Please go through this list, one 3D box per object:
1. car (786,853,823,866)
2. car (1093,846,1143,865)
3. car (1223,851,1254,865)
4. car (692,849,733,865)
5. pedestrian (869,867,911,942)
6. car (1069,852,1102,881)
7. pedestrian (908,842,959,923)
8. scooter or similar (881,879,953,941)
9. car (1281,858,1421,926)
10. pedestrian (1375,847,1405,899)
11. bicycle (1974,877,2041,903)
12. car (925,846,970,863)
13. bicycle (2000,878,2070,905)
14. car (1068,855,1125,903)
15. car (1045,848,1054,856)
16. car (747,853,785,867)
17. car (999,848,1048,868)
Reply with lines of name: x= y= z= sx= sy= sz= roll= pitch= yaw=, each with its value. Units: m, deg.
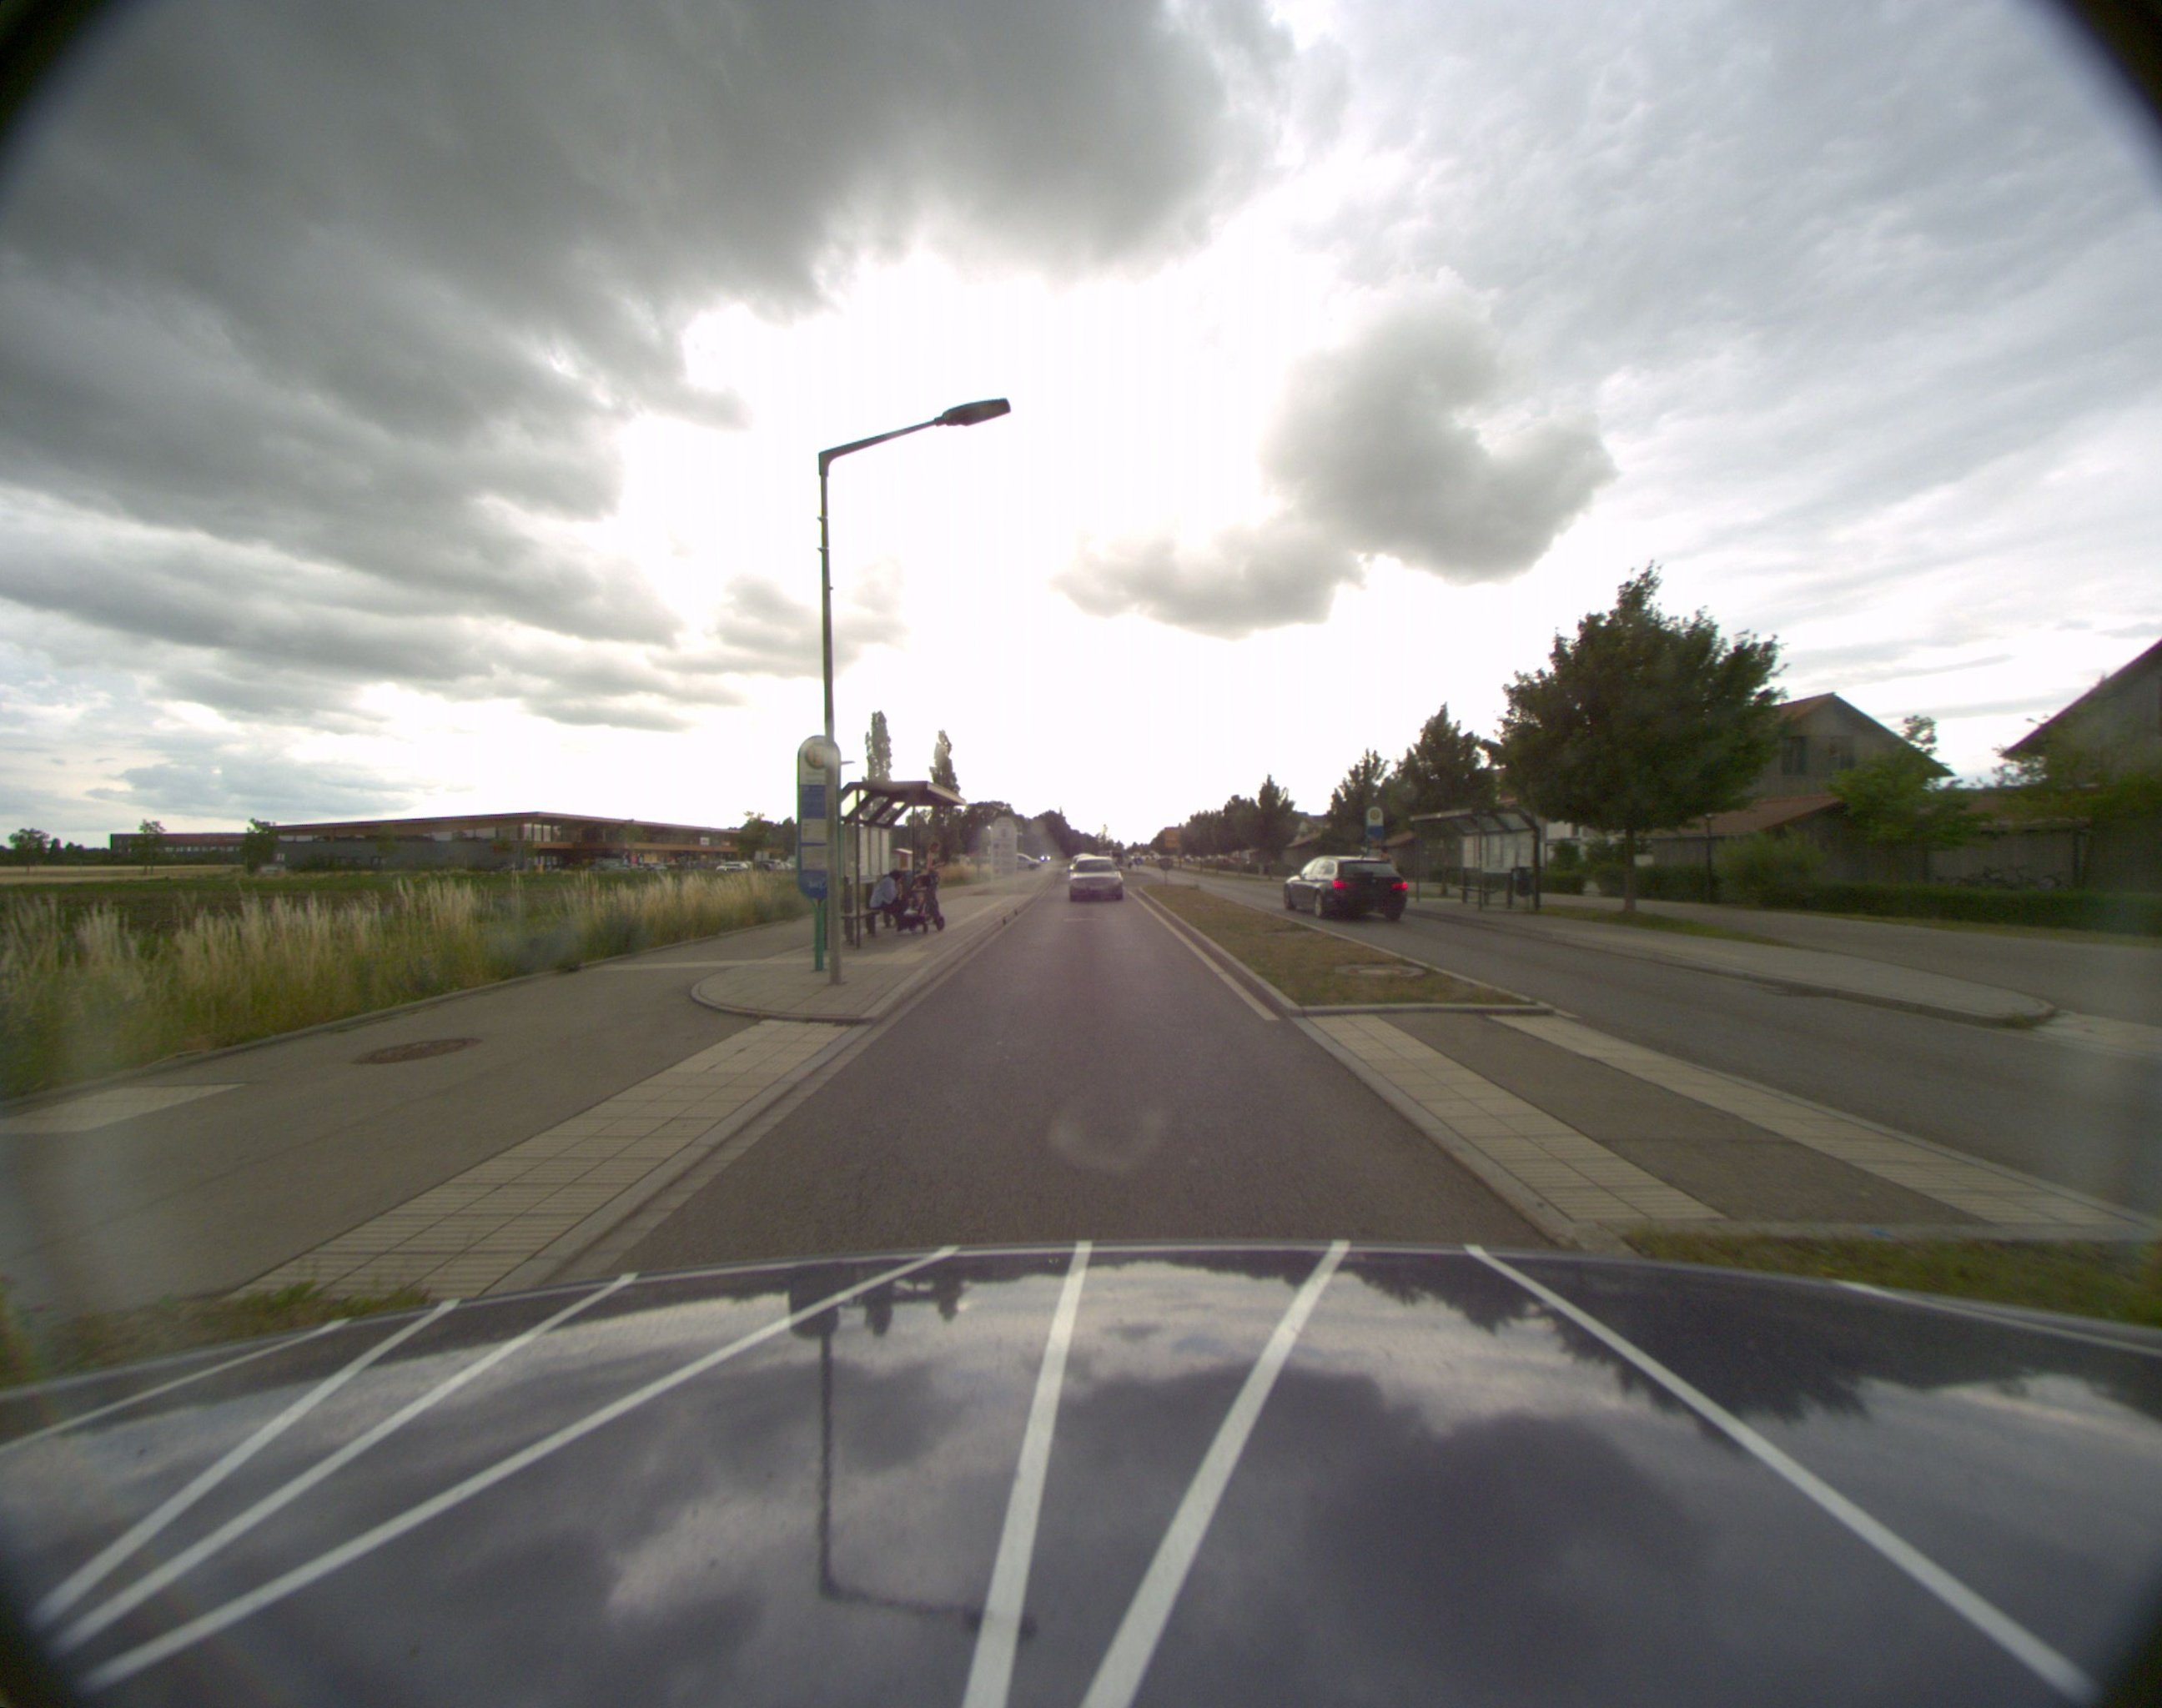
car: x=-46.977 y=0.931 z=129.223 sx=5.527 sy=2.002 sz=1.999 roll=-2 pitch=1 yaw=-6
car: x=4.348 y=0.129 z=88.650 sx=5.327 sy=2.002 sz=2.555 roll=-3 pitch=1 yaw=-38
car: x=24.791 y=0.656 z=119.954 sx=4.568 sy=2.002 sz=2.000 roll=-2 pitch=1 yaw=5
car: x=-53.643 y=0.413 z=110.588 sx=4.858 sy=2.002 sz=1.998 roll=-2 pitch=1 yaw=-7
pedestrian: x=-3.447 y=0.896 z=13.710 sx=0.667 sy=1.295 sz=0.504 roll=-3 pitch=1 yaw=-14
car: x=0.259 y=0.667 z=44.123 sx=1.763 sy=1.495 sz=4.690 roll=-2 pitch=1 yaw=0
pedestrian: x=-3.364 y=0.642 z=17.388 sx=0.782 sy=1.782 sz=0.780 roll=-2 pitch=1 yaw=21
scooter or similar: x=-3.023 y=1.013 z=14.082 sx=0.707 sy=1.056 sz=1.062 roll=-1 pitch=1 yaw=37
car: x=6.438 y=0.828 z=18.693 sx=1.925 sy=1.445 sz=4.496 roll=0 pitch=0 yaw=1
pedestrian: x=9.707 y=0.588 z=23.886 sx=0.590 sy=1.627 sz=0.813 roll=0 pitch=1 yaw=0
bicycle: x=33.149 y=1.290 z=27.189 sx=1.946 sy=0.904 sz=0.419 roll=0 pitch=1 yaw=-1
car: x=-17.590 y=0.018 z=100.311 sx=5.527 sy=2.002 sz=1.999 roll=-2 pitch=1 yaw=-6
bicycle: x=33.130 y=1.303 z=26.400 sx=1.946 sy=0.904 sz=0.419 roll=0 pitch=1 yaw=-1
car: x=0.502 y=0.799 z=26.385 sx=1.763 sy=1.410 sz=4.519 roll=-2 pitch=1 yaw=0
car: x=-7.581 y=-0.498 z=181.932 sx=1.998 sy=2.002 sz=3.999 roll=-2 pitch=1 yaw=1
car: x=-47.237 y=0.905 z=114.057 sx=4.858 sy=2.002 sz=1.998 roll=-2 pitch=1 yaw=-7
car: x=-6.398 y=0.483 z=84.990 sx=5.313 sy=2.002 sz=2.000 roll=-2 pitch=1 yaw=1
